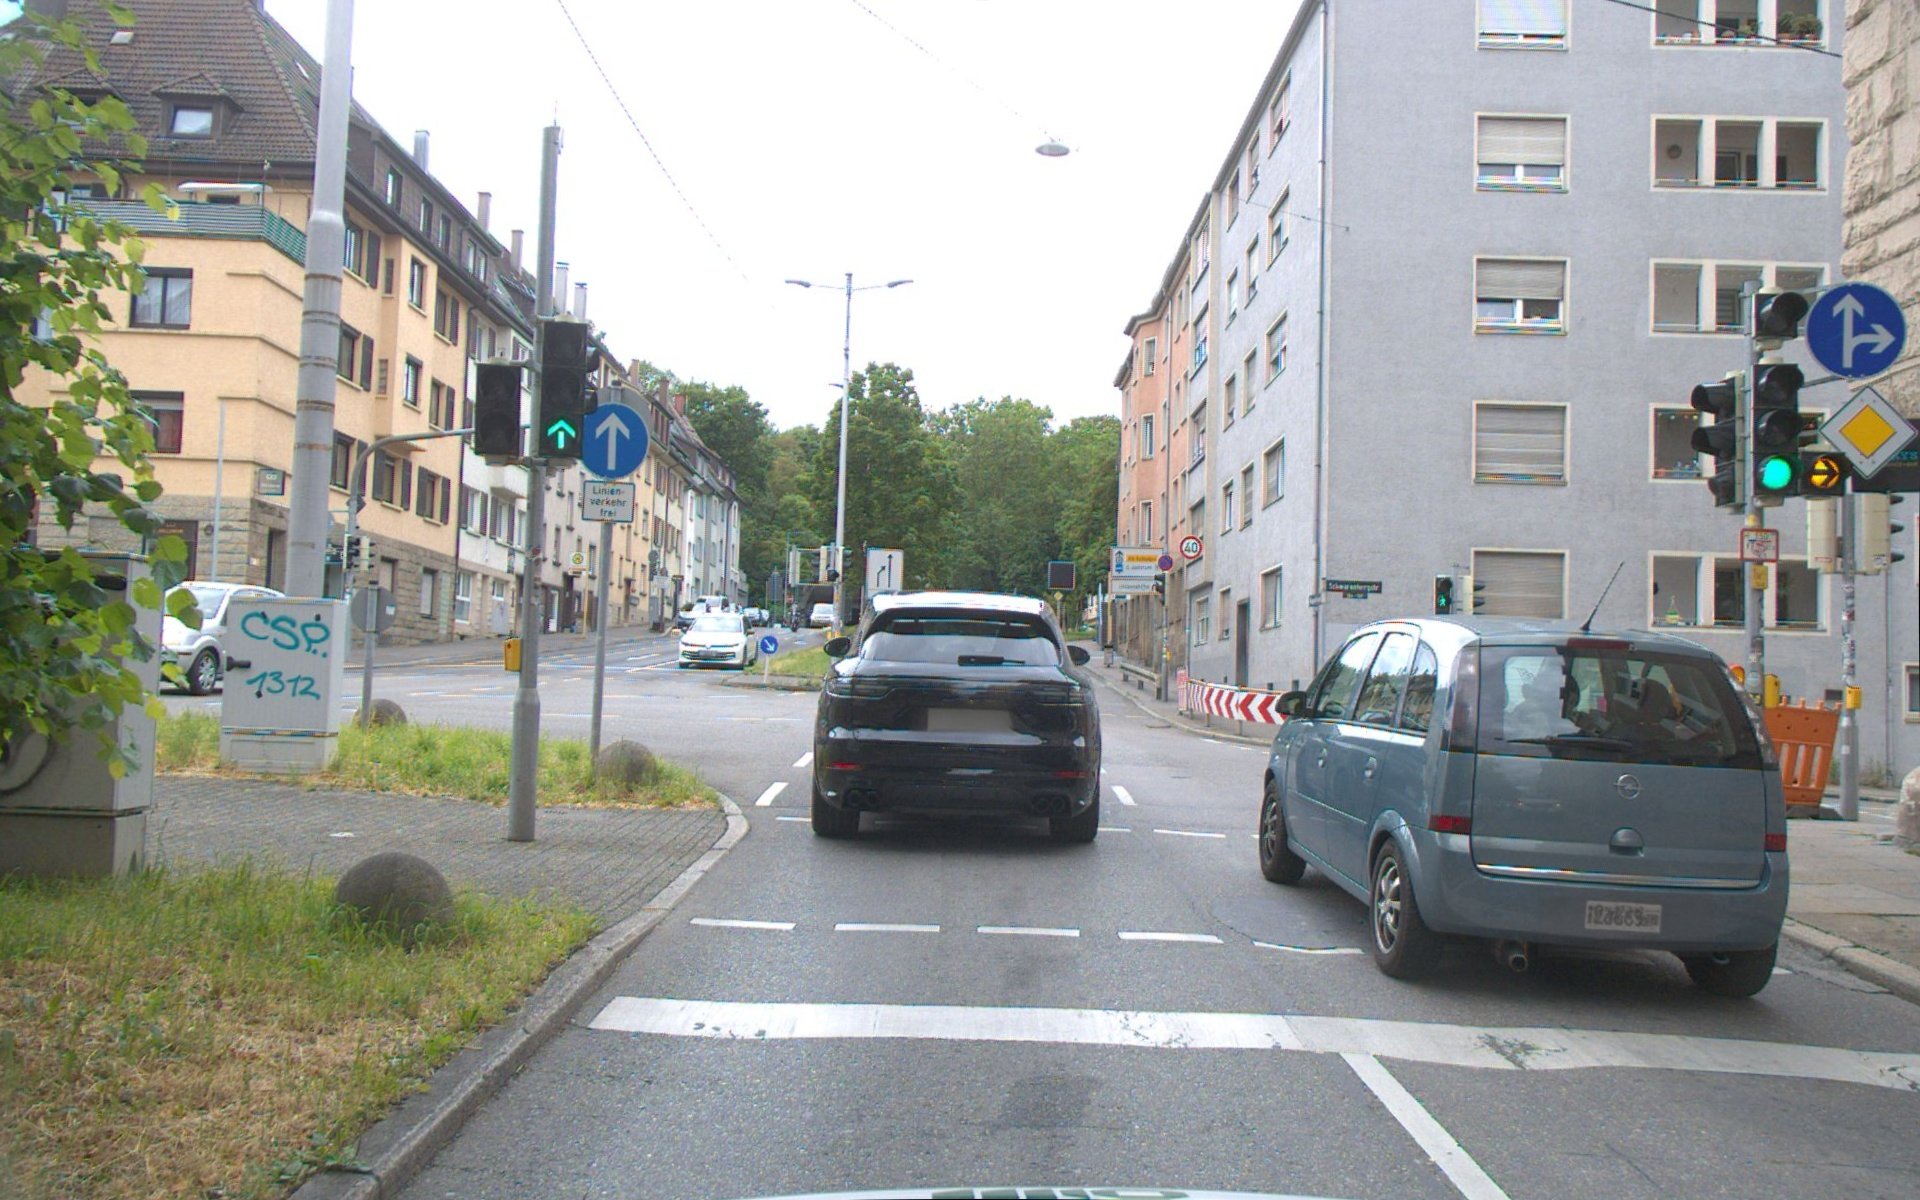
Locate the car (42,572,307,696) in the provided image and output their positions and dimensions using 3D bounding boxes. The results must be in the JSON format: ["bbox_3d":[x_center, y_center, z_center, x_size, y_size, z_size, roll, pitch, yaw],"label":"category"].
[{"bbox_3d":[-10.520,0.472,22.473,1.585,1.506,3.824,1,-2,3],"label":"car"}]

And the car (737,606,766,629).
[{"bbox_3d":[-15.066,1.249,119.677,1.655,1.565,3.813,1,0,0],"label":"car"}]

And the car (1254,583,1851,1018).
[{"bbox_3d":[2.706,0.819,8.463,1.596,1.625,3.668,4,-1,-1],"label":"car"}]

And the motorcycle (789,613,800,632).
[{"bbox_3d":[-9.426,1.255,94.248,0.501,1.058,1.389,1,-1,0],"label":"motorcycle"}]

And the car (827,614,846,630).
[{"bbox_3d":[-11.048,1.995,148.239,1.459,1.400,3.244,1,0,0],"label":"car"}]

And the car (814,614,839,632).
[{"bbox_3d":[-9.598,1.642,119.144,1.519,1.279,3.662,1,0,0],"label":"car"}]

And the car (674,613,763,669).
[{"bbox_3d":[-6.524,1.088,45.023,1.824,1.412,4.094,1,0,0],"label":"car"}]

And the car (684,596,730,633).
[{"bbox_3d":[-15.115,0.863,98.952,1.975,2.081,4.666,1,0,0],"label":"car"}]

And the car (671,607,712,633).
[{"bbox_3d":[-15.088,1.131,93.084,1.703,1.411,3.813,1,0,0],"label":"car"}]

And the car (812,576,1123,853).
[{"bbox_3d":[0.023,0.728,12.282,1.916,1.704,3.999,1,0,-1],"label":"car"}]

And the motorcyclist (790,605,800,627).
[{"bbox_3d":[-9.418,0.916,94.258,0.501,1.247,0.467,1,-1,-1],"label":"motorcyclist"}]
